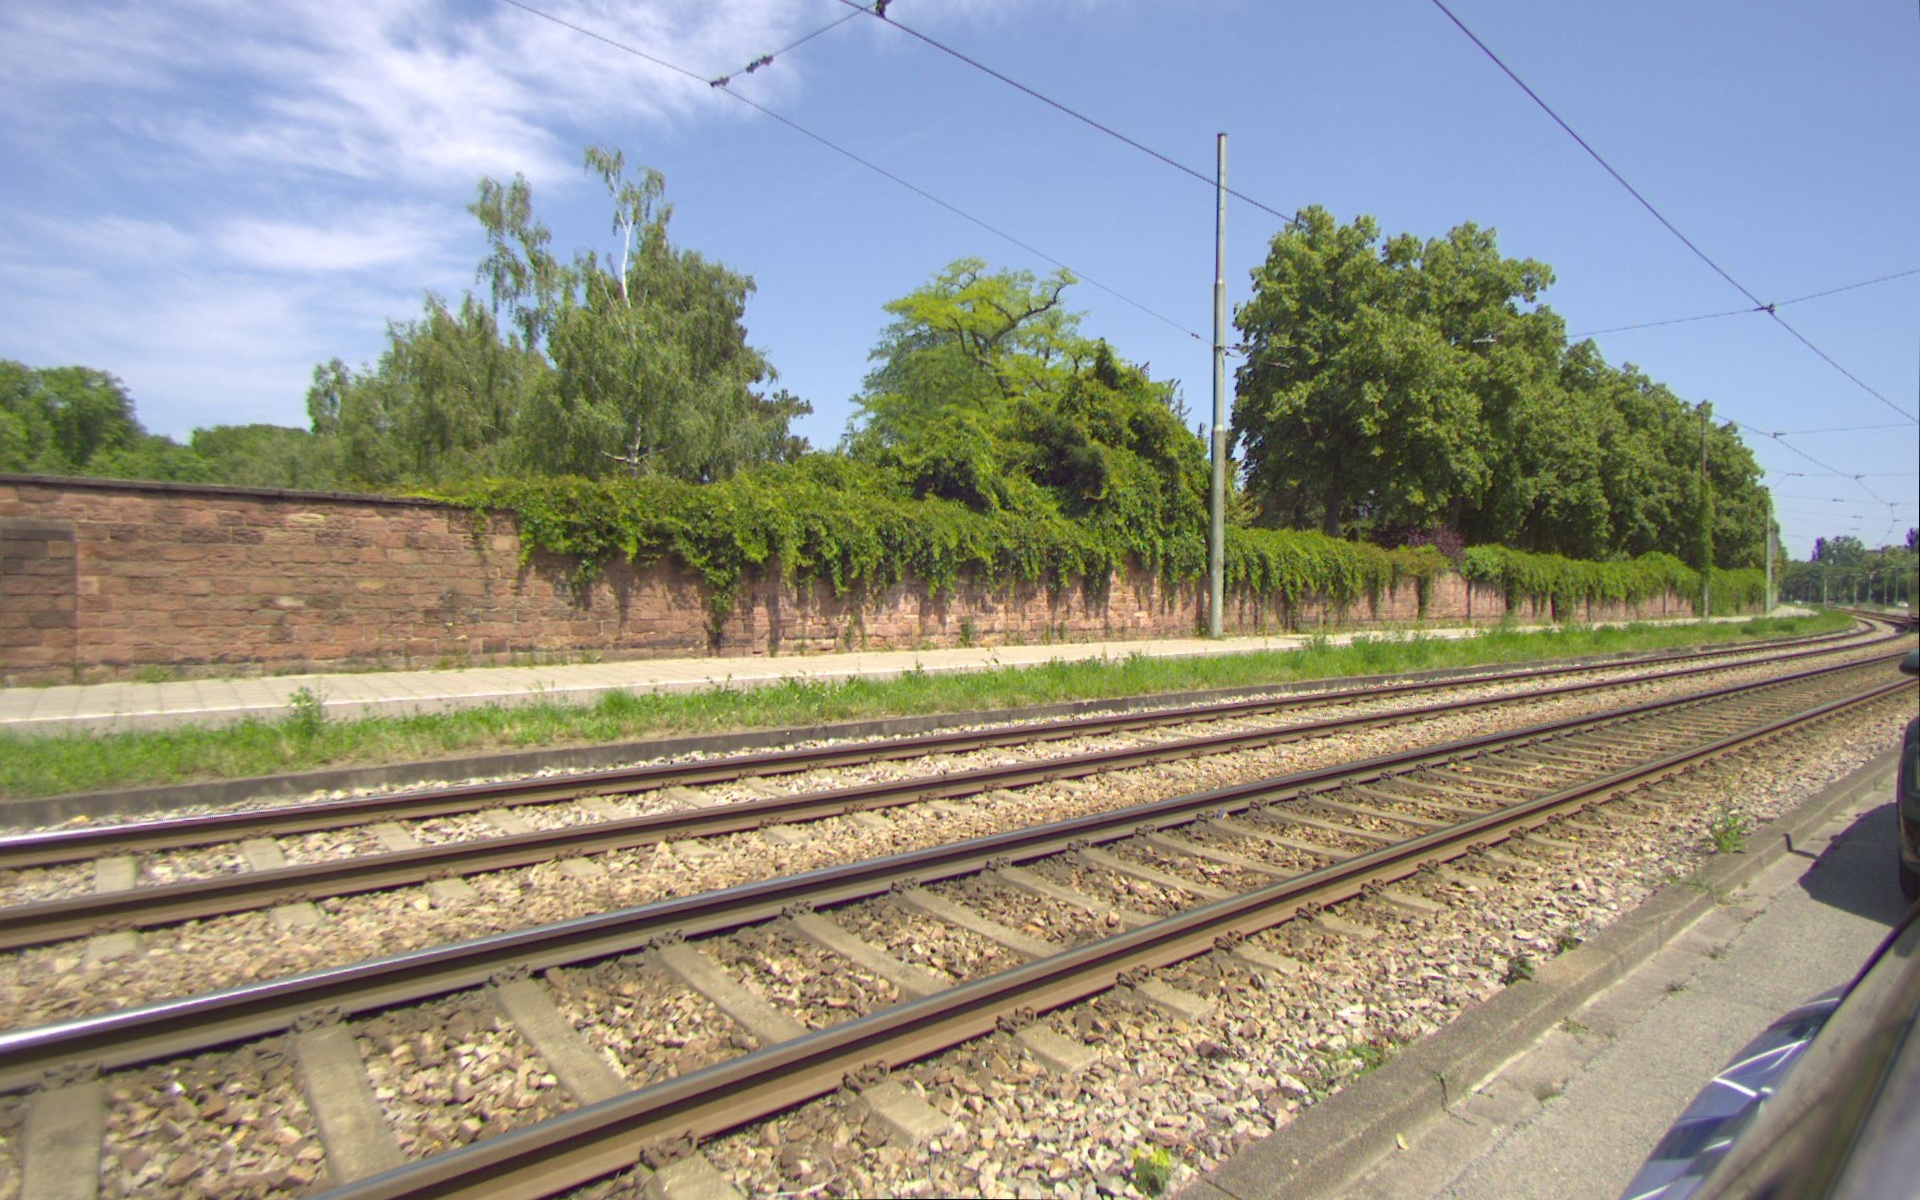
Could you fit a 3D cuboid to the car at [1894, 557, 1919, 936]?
[{"bbox_3d":[6.214,0.620,5.093,4.349,1.603,1.757,0,0,-41],"label":"car"}]
